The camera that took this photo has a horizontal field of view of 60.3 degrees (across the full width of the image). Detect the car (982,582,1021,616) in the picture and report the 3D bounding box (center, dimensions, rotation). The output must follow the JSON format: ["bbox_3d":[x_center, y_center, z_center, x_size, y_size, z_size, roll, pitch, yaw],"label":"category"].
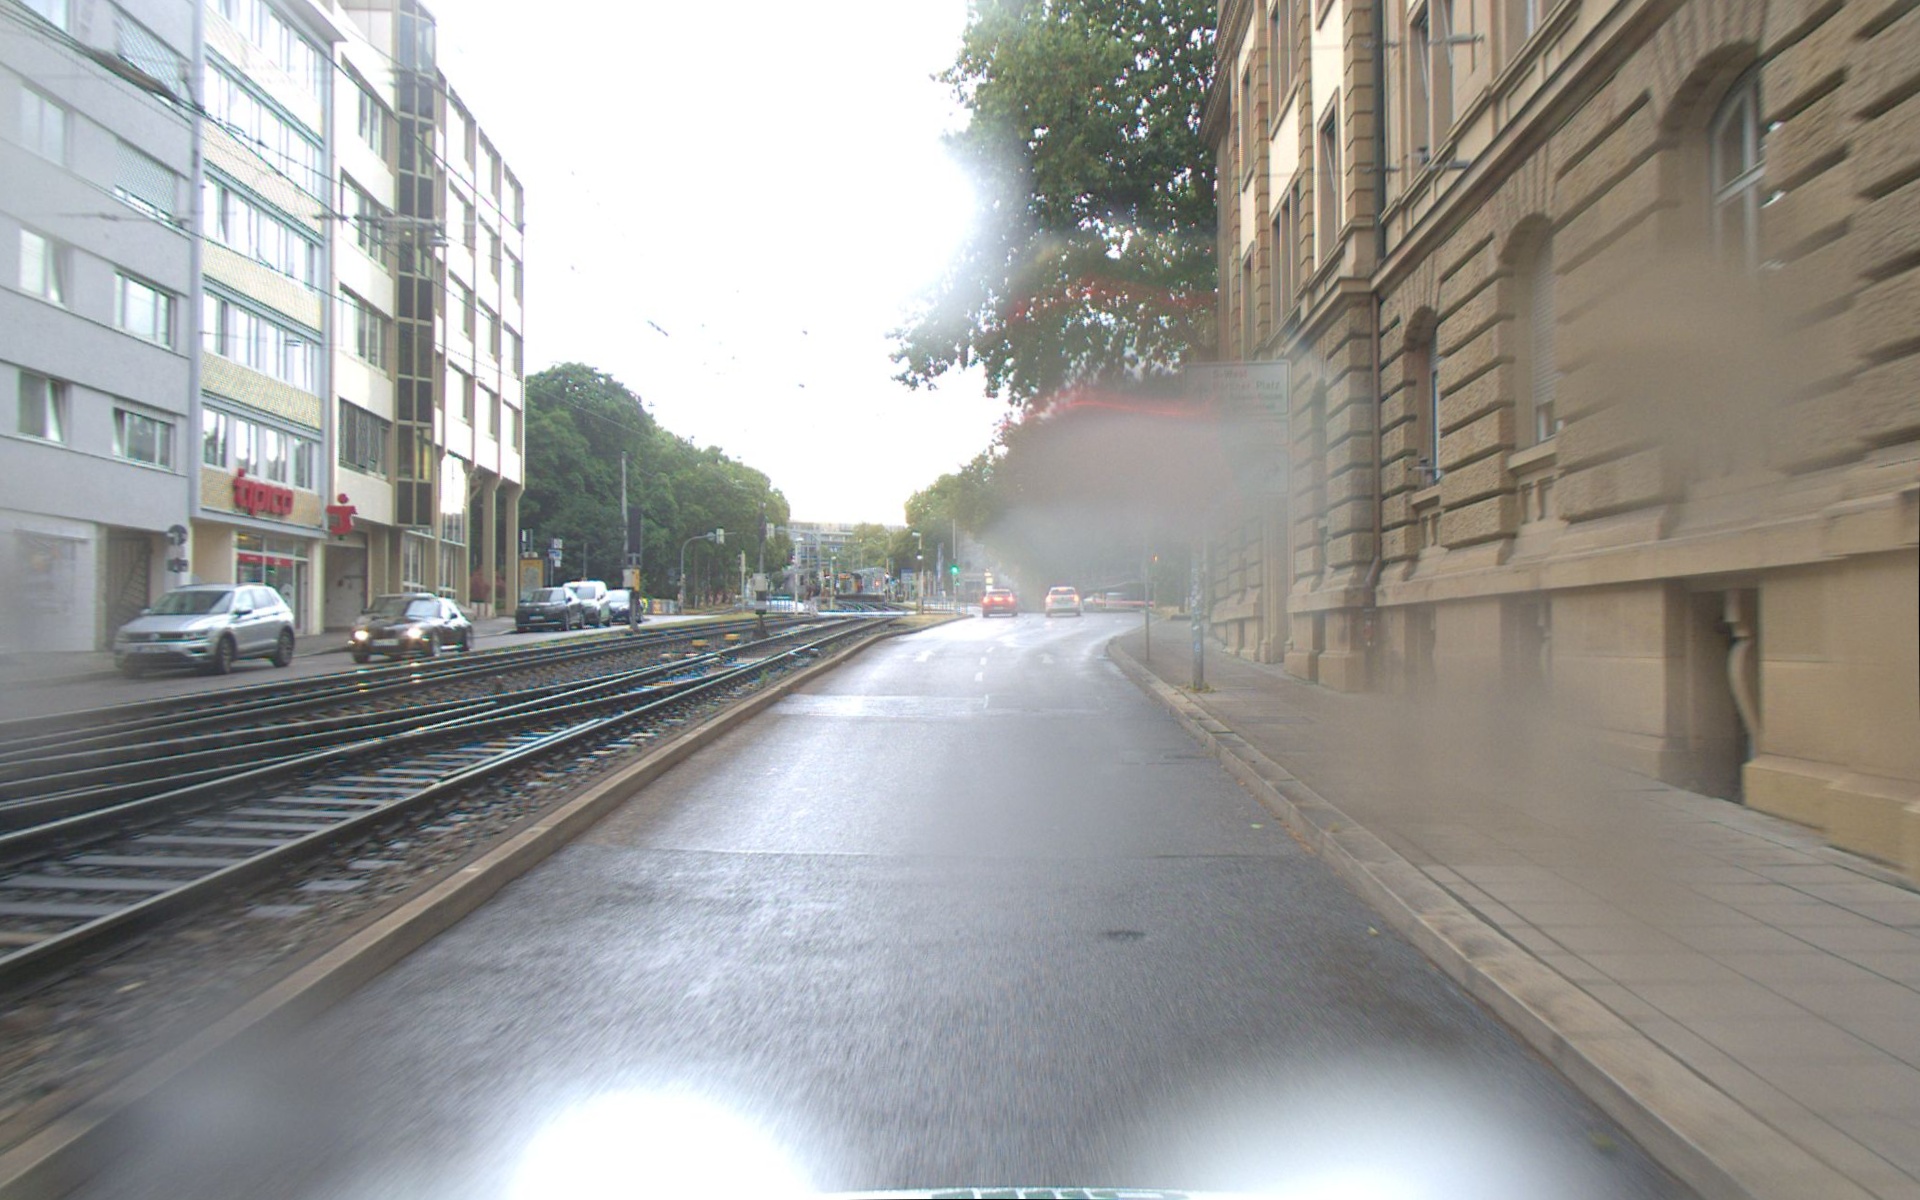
[{"bbox_3d":[2.177,-0.015,86.106,1.939,1.669,4.418,1,-1,2],"label":"car"}]

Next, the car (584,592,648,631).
[{"bbox_3d":[-14.855,0.502,71.625,1.954,1.610,4.546,1,-1,-3],"label":"car"}]

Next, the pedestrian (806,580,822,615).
[{"bbox_3d":[-7.657,-0.131,86.707,0.629,1.819,0.806,1,-1,-19],"label":"pedestrian"}]

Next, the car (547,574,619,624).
[{"bbox_3d":[-14.813,-0.009,65.226,1.954,1.882,4.692,1,-1,-3],"label":"car"}]

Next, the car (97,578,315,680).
[{"bbox_3d":[-14.075,0.481,31.204,1.953,1.703,4.695,1,1,0],"label":"car"}]

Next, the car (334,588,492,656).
[{"bbox_3d":[-11.383,0.460,34.760,1.954,1.277,4.692,-1,-1,-3],"label":"car"}]

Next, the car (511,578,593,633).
[{"bbox_3d":[-14.738,0.209,59.954,1.954,1.882,4.692,1,-1,-3],"label":"car"}]

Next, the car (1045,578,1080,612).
[{"bbox_3d":[5.125,-0.248,82.464,1.643,1.604,4.255,-1,0,5],"label":"car"}]

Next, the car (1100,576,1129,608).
[{"bbox_3d":[16.130,-0.803,172.518,2.492,3.189,5.030,1,-1,0],"label":"car"}]

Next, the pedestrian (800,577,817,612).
[{"bbox_3d":[-8.022,-0.299,87.553,0.630,1.819,0.805,2,-1,-23],"label":"pedestrian"}]

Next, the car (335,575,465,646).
[{"bbox_3d":[-14.574,0.293,43.335,1.954,1.703,4.692,1,-1,-3],"label":"car"}]
